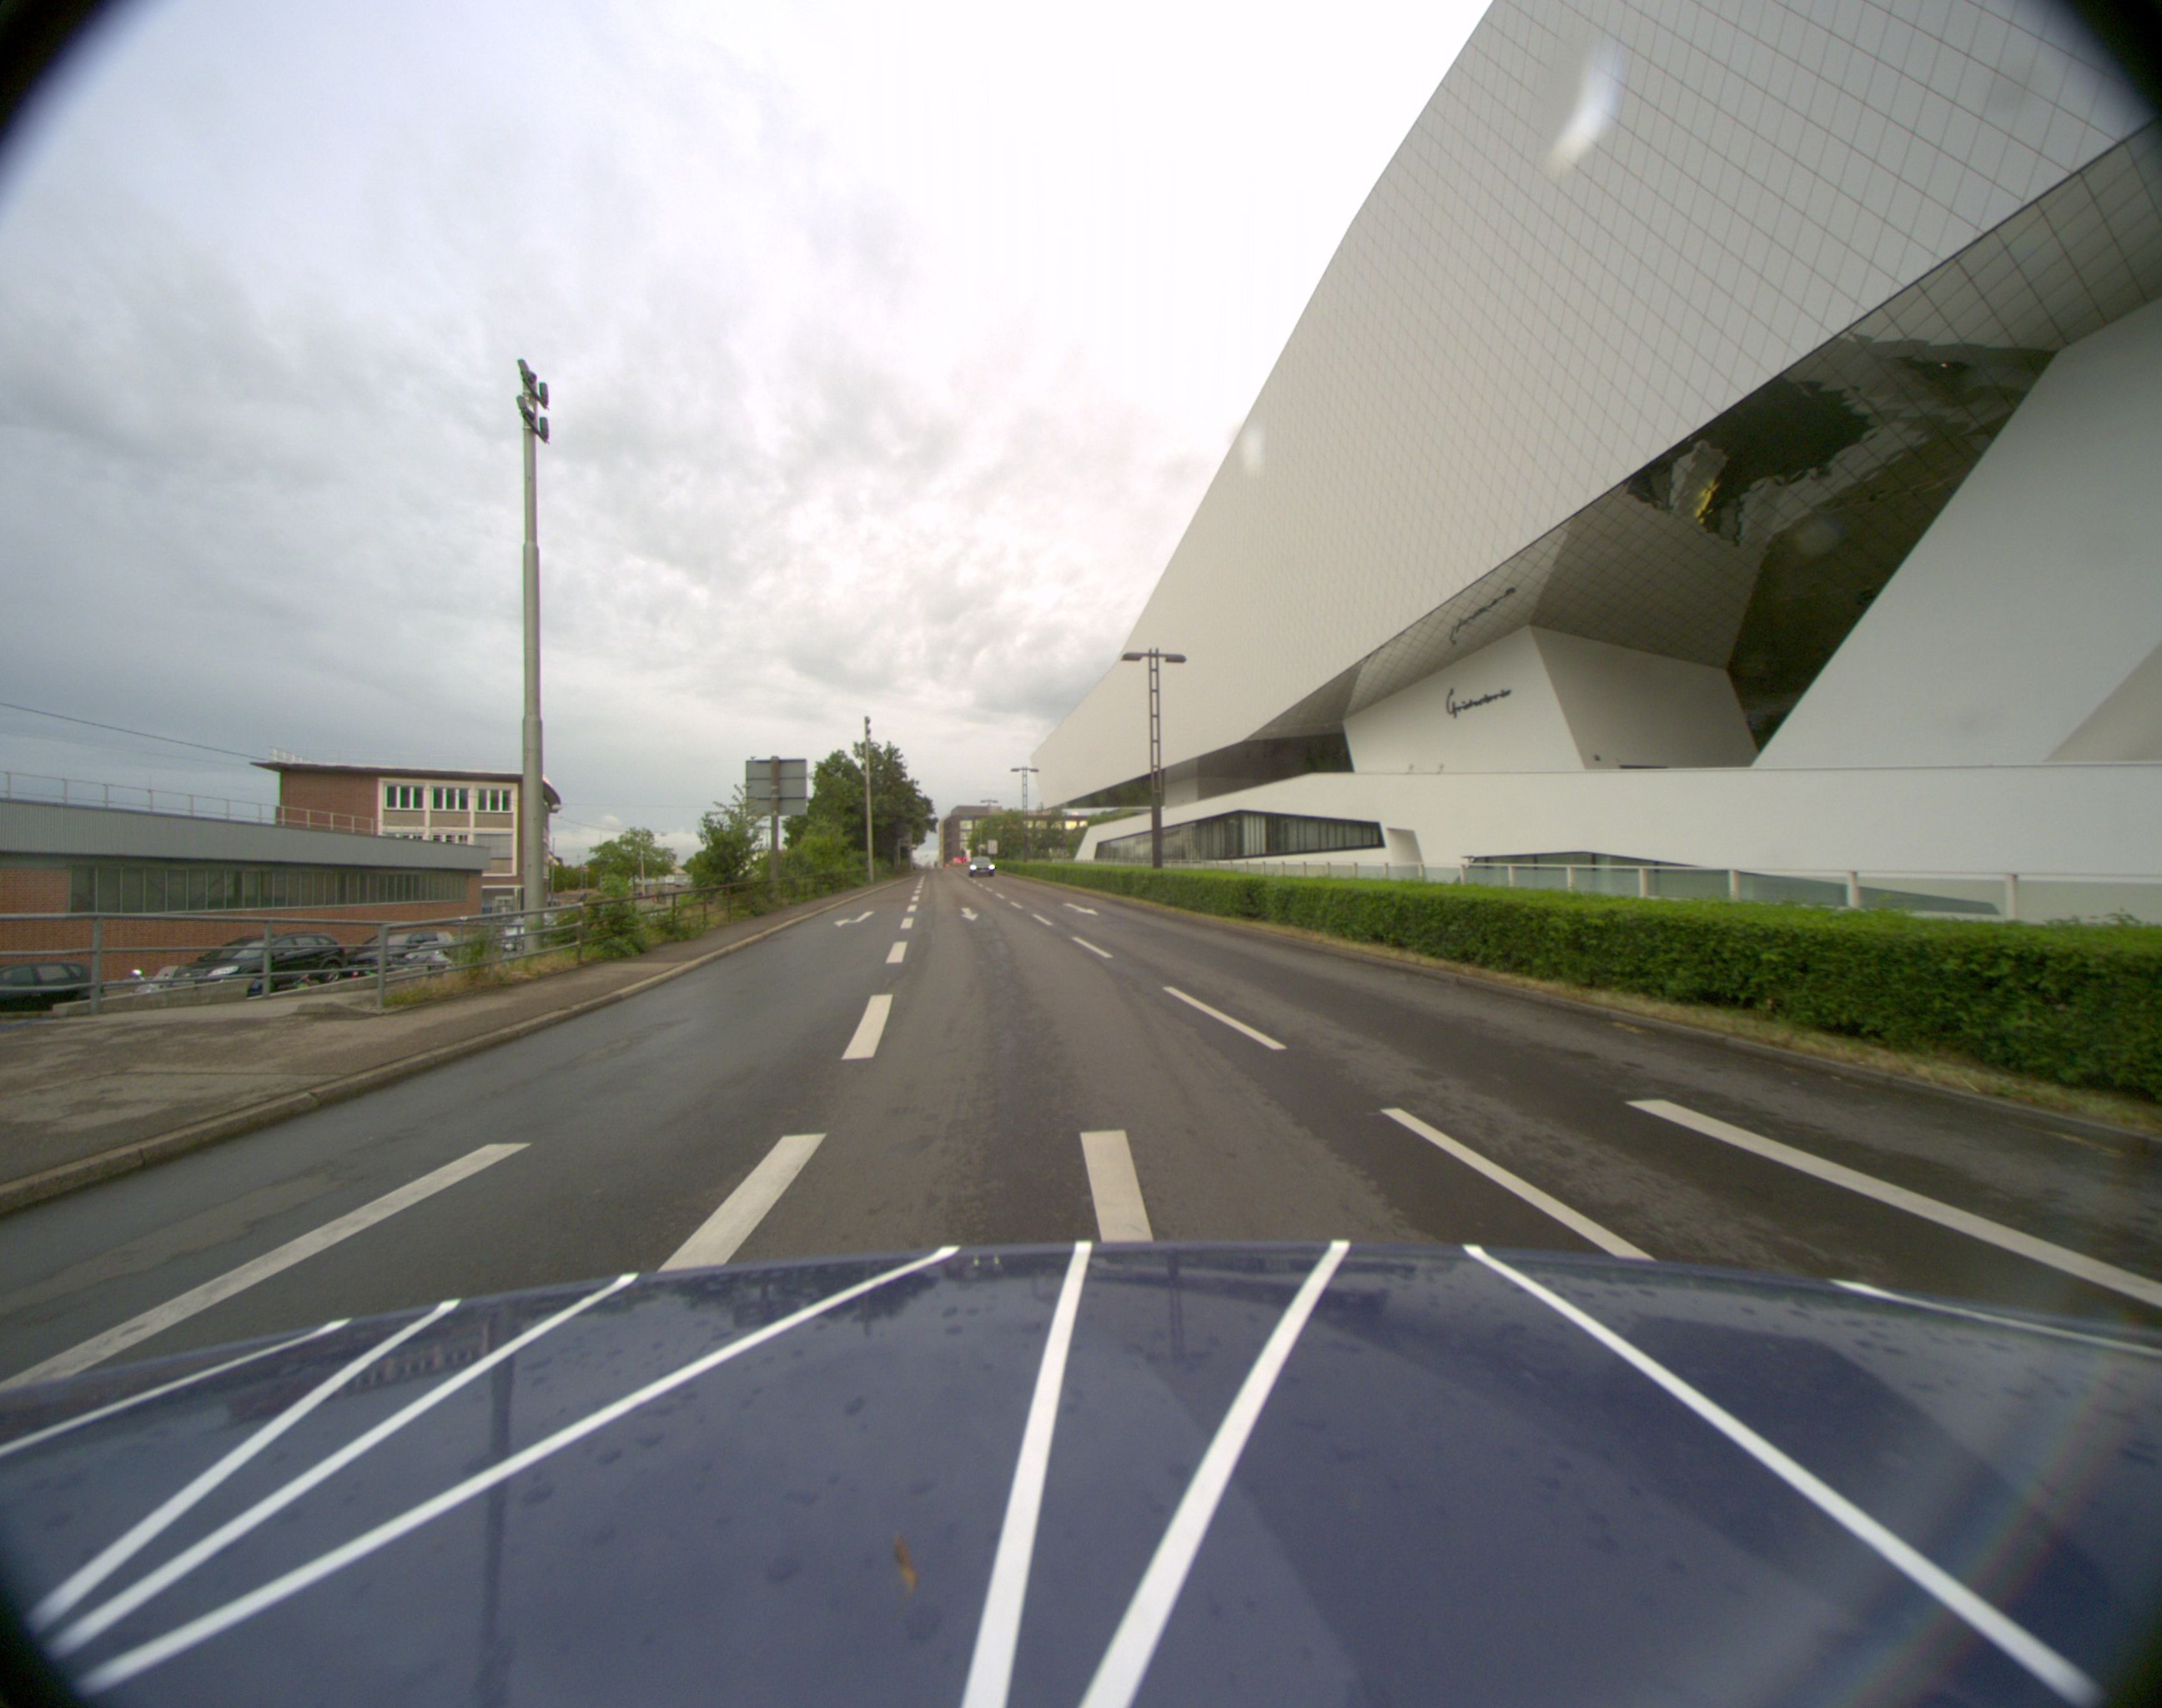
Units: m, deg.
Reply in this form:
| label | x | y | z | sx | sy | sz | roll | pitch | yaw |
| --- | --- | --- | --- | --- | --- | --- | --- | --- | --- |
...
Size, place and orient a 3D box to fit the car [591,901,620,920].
| label | x | y | z | sx | sy | sz | roll | pitch | yaw |
| --- | --- | --- | --- | --- | --- | --- | --- | --- | --- |
| car | -41.048 | 4.837 | 65.619 | 1.670 | 1.387 | 3.992 | -2 | 0 | -26 |

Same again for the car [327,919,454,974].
| label | x | y | z | sx | sy | sz | roll | pitch | yaw |
| --- | --- | --- | --- | --- | --- | --- | --- | --- | --- |
| car | -25.442 | 3.367 | 28.203 | 1.704 | 1.546 | 3.853 | -1 | 0 | -11 |

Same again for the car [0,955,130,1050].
| label | x | y | z | sx | sy | sz | roll | pitch | yaw |
| --- | --- | --- | --- | --- | --- | --- | --- | --- | --- |
| car | -22.988 | 3.210 | 15.872 | 1.704 | 1.618 | 3.927 | -1 | 0 | -11 |

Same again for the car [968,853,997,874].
| label | x | y | z | sx | sy | sz | roll | pitch | yaw |
| --- | --- | --- | --- | --- | --- | --- | --- | --- | --- |
| car | -7.821 | 0.704 | 60.325 | 1.843 | 1.574 | 4.284 | -1 | 0 | -13 |

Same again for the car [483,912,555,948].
| label | x | y | z | sx | sy | sz | roll | pitch | yaw |
| --- | --- | --- | --- | --- | --- | --- | --- | --- | --- |
| car | -30.176 | 4.051 | 40.952 | 1.704 | 1.546 | 3.852 | -1 | 0 | -13 |

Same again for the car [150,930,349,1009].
| label | x | y | z | sx | sy | sz | roll | pitch | yaw |
| --- | --- | --- | --- | --- | --- | --- | --- | --- | --- |
| car | -24.319 | 3.306 | 22.505 | 1.638 | 1.621 | 4.425 | -1 | 0 | -11 |

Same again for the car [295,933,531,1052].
| label | x | y | z | sx | sy | sz | roll | pitch | yaw |
| --- | --- | --- | --- | --- | --- | --- | --- | --- | --- |
| car | -12.701 | 2.541 | 14.814 | 1.704 | 1.546 | 3.853 | -1 | 0 | -11 |
